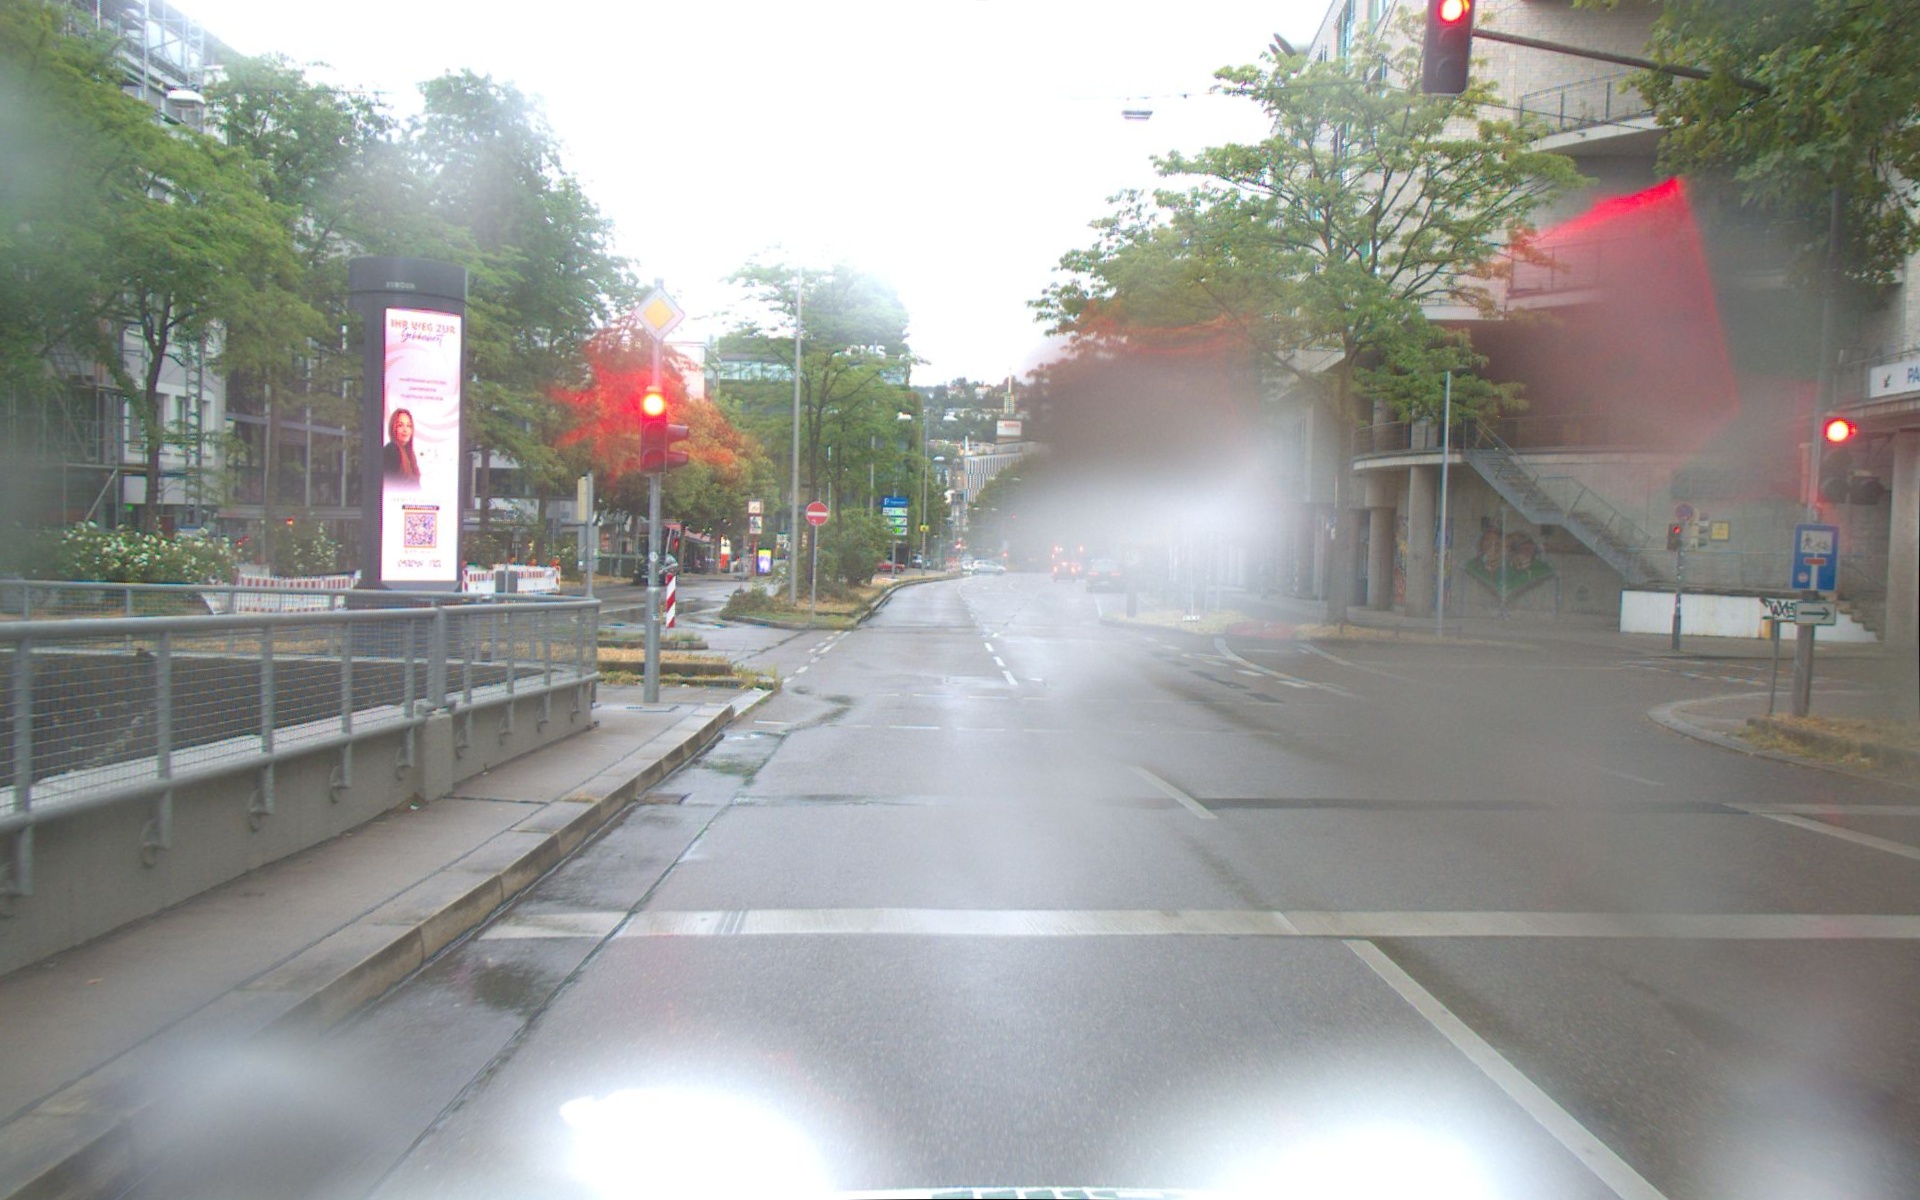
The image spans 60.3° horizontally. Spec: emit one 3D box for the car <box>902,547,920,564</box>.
[{"bbox_3d":[-6.739,-6.099,228.004,2.084,2.202,5.199,2,1,2],"label":"car"}]

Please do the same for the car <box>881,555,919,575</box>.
[{"bbox_3d":[-6.637,-3.867,182.484,3.940,1.953,1.879,2,0,-13],"label":"car"}]

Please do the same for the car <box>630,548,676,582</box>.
[{"bbox_3d":[-16.146,-1.858,87.098,1.744,1.582,3.893,2,3,-1],"label":"car"}]

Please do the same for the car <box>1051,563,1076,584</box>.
[{"bbox_3d":[8.246,-2.119,131.975,1.710,1.545,4.106,2,1,-1],"label":"car"}]

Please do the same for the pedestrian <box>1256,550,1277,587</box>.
[{"bbox_3d":[13.493,-1.372,72.824,0.769,1.584,0.533,2,0,4],"label":"pedestrian"}]

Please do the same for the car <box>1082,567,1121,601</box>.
[{"bbox_3d":[7.475,-0.859,87.702,1.861,1.713,3.913,2,1,3],"label":"car"}]

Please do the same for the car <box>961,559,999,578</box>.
[{"bbox_3d":[2.171,-3.495,184.290,3.979,1.938,1.951,2,0,-7],"label":"car"}]
